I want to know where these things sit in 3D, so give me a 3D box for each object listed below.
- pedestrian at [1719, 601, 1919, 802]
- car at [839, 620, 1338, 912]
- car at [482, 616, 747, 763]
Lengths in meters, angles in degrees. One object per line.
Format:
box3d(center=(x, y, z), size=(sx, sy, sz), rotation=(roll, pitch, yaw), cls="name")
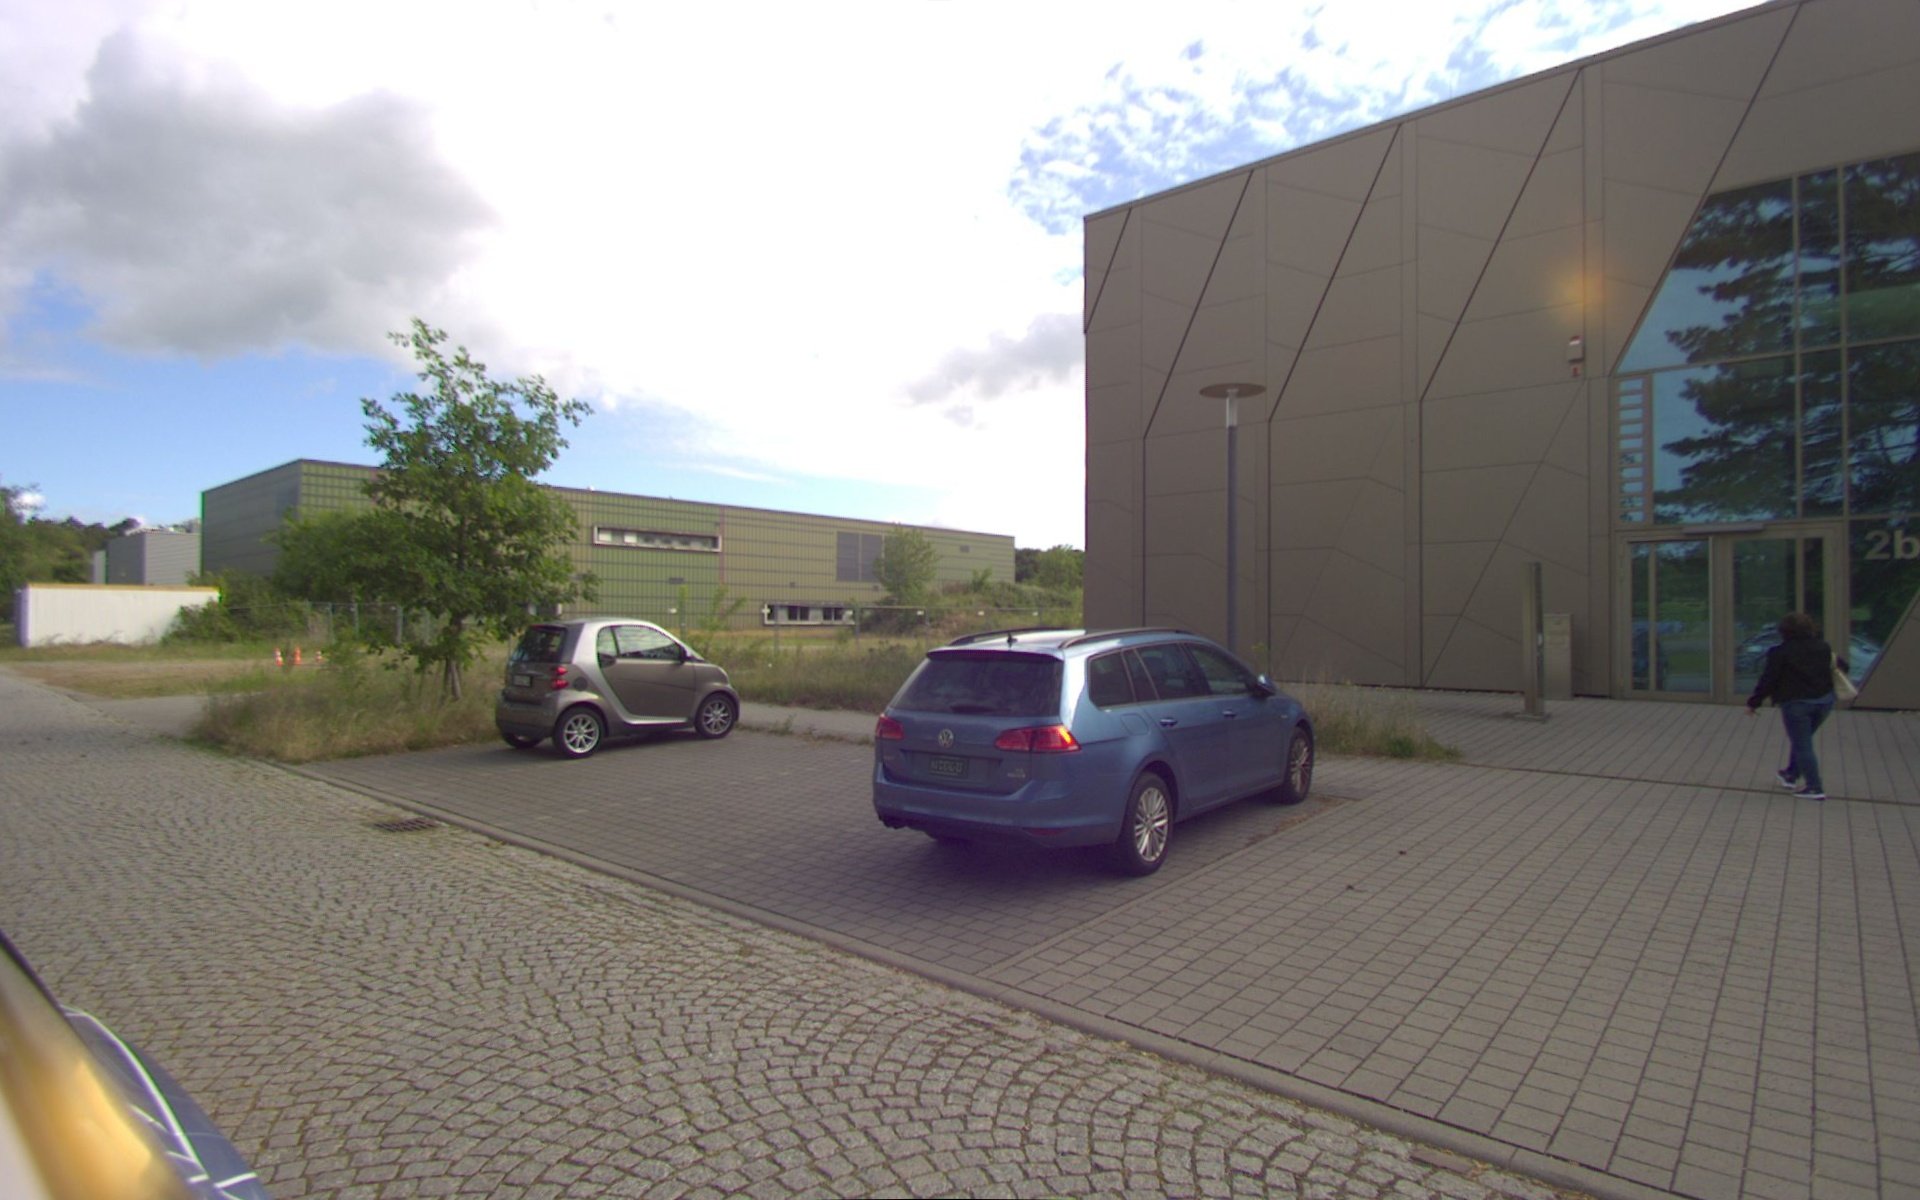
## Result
box3d(center=(6.875, 0.763, 8.112), size=(0.806, 1.506, 0.988), rotation=(0, 0, -6), cls="pedestrian")
box3d(center=(1.235, 0.912, 7.519), size=(1.771, 1.439, 4.264), rotation=(-1, -1, 38), cls="car")
box3d(center=(-4.160, 0.987, 12.367), size=(1.609, 1.523, 2.627), rotation=(-1, -1, 40), cls="car")
